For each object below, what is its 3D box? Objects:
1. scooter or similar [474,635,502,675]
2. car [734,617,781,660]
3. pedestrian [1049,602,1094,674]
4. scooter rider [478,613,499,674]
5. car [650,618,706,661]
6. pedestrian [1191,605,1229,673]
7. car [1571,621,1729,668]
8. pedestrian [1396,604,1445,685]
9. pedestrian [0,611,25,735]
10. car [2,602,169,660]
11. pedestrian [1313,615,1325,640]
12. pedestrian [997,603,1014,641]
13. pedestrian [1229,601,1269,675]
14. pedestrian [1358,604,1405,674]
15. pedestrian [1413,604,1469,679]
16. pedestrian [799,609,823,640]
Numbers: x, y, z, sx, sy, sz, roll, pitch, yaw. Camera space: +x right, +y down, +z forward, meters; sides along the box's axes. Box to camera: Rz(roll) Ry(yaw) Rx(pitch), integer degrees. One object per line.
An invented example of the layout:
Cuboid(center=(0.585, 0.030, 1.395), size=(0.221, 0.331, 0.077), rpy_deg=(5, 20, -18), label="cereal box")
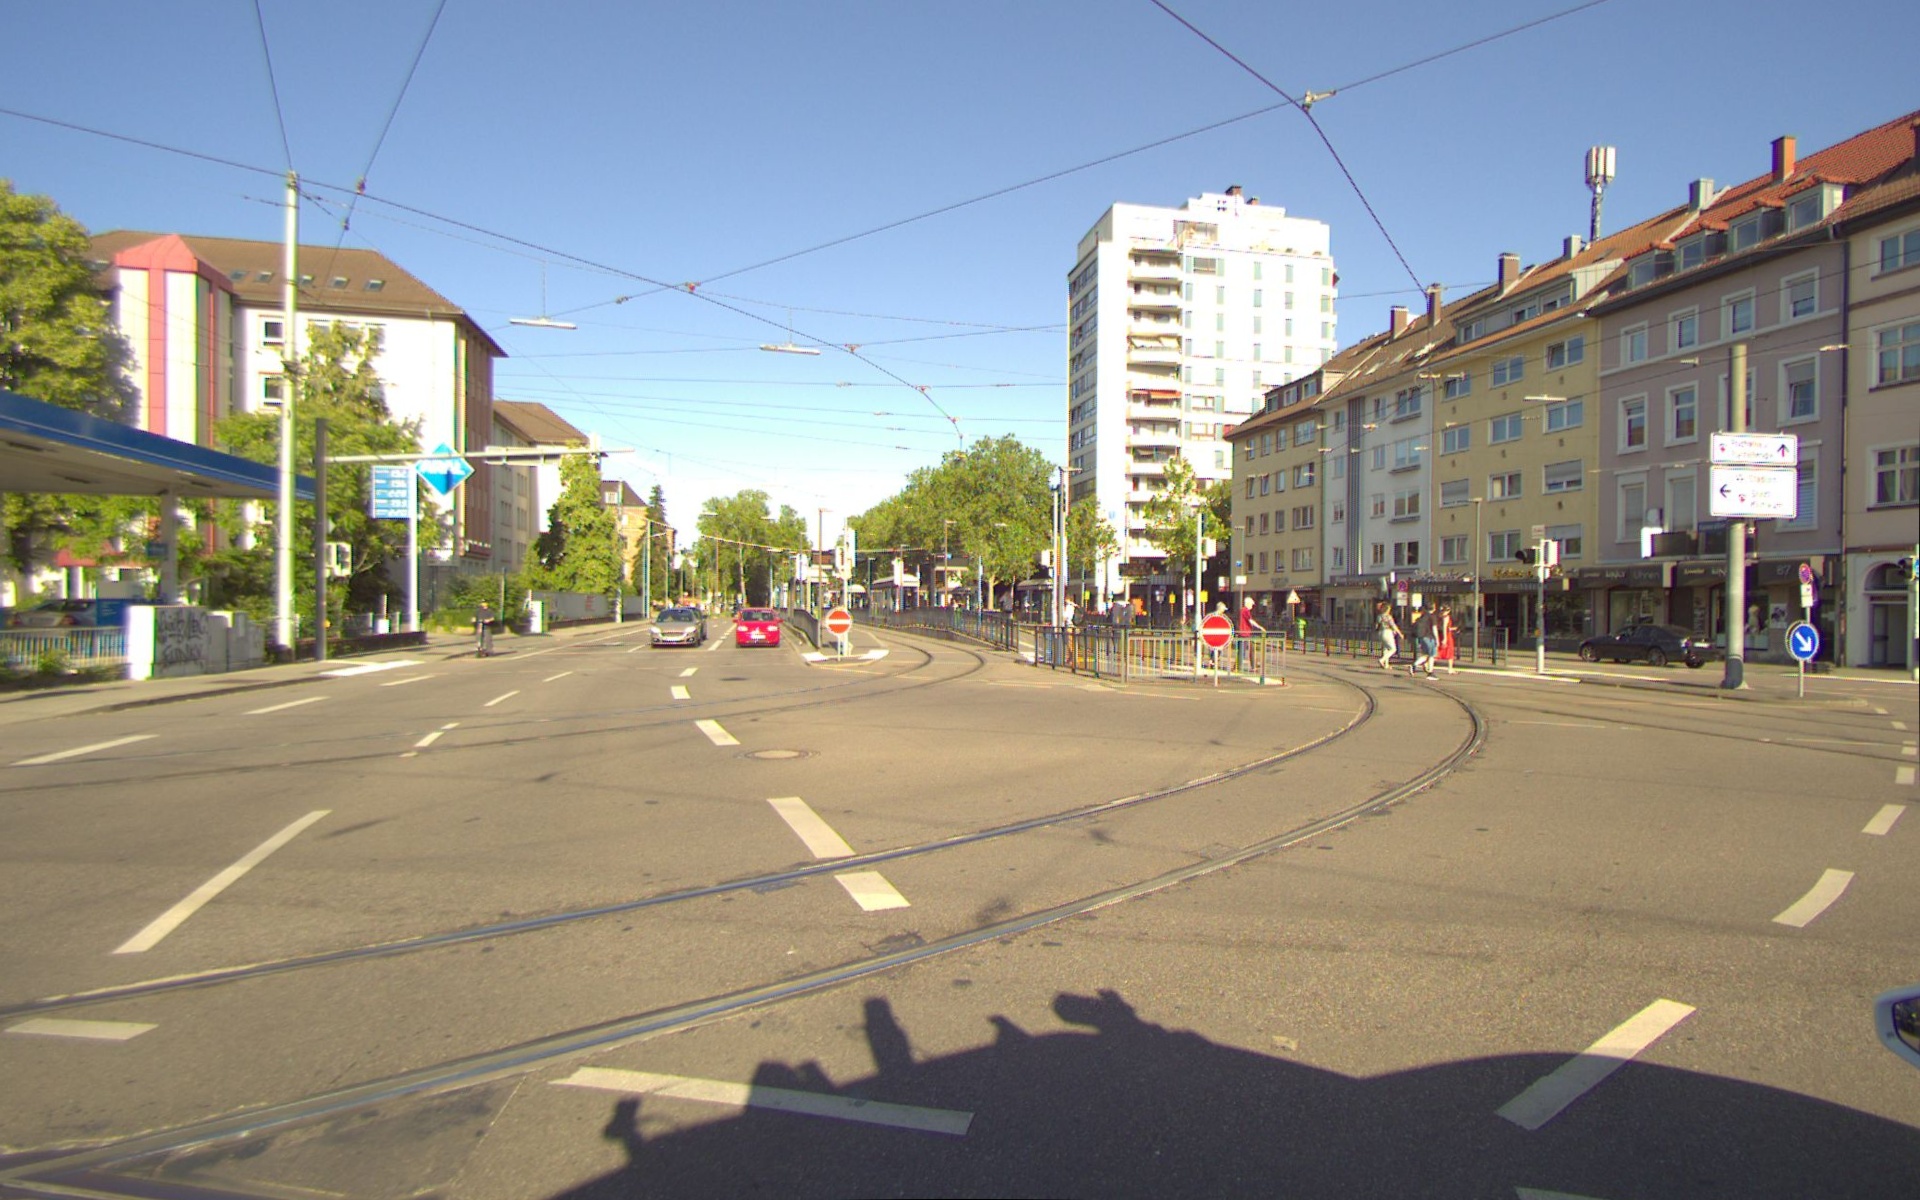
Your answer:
Cuboid(center=(-15.190, 1.760, 32.344), size=(0.456, 1.198, 1.474), rpy_deg=(0, 0, -10), label="scooter or similar")
Cuboid(center=(-7.798, 1.443, 38.642), size=(1.687, 1.506, 4.210), rpy_deg=(0, 0, -12), label="car")
Cuboid(center=(2.781, 0.932, 25.113), size=(0.783, 1.756, 0.813), rpy_deg=(0, 0, -43), label="pedestrian")
Cuboid(center=(-15.181, 1.384, 32.334), size=(0.456, 1.926, 0.691), rpy_deg=(0, 0, -11), label="scooter rider")
Cuboid(center=(-10.773, 1.483, 38.601), size=(1.711, 1.539, 3.993), rpy_deg=(0, -1, -10), label="car")
Cuboid(center=(6.205, 0.959, 24.937), size=(0.792, 1.652, 0.865), rpy_deg=(0, 0, 6), label="pedestrian")
Cuboid(center=(24.095, 1.513, 35.305), size=(1.715, 1.459, 4.642), rpy_deg=(1, -1, -14), label="car")
Cuboid(center=(10.226, 0.966, 22.312), size=(0.790, 1.756, 0.650), rpy_deg=(0, 0, -23), label="pedestrian")
Cuboid(center=(-14.045, 1.047, 14.289), size=(0.719, 1.752, 0.748), rpy_deg=(0, 3, 3), label="pedestrian")
Cuboid(center=(-24.495, 0.823, 28.347), size=(1.687, 1.506, 4.210), rpy_deg=(0, 0, -12), label="car")
Cuboid(center=(22.306, 1.711, 62.418), size=(0.499, 1.583, 0.465), rpy_deg=(1, 0, -9), label="pedestrian")
Cuboid(center=(1.913, 0.918, 42.091), size=(0.584, 1.589, 0.732), rpy_deg=(1, 0, 9), label="pedestrian")
Cuboid(center=(6.934, 0.897, 24.150), size=(0.831, 1.746, 0.826), rpy_deg=(0, 0, 10), label="pedestrian")
Cuboid(center=(10.774, 0.994, 25.681), size=(0.809, 1.756, 0.788), rpy_deg=(0, 0, -10), label="pedestrian")
Cuboid(center=(11.568, 0.985, 24.151), size=(0.890, 1.756, 0.838), rpy_deg=(0, 0, -16), label="pedestrian")
Cuboid(center=(-6.921, 1.136, 46.698), size=(1.028, 1.439, 0.576), rpy_deg=(0, 0, -17), label="pedestrian")
